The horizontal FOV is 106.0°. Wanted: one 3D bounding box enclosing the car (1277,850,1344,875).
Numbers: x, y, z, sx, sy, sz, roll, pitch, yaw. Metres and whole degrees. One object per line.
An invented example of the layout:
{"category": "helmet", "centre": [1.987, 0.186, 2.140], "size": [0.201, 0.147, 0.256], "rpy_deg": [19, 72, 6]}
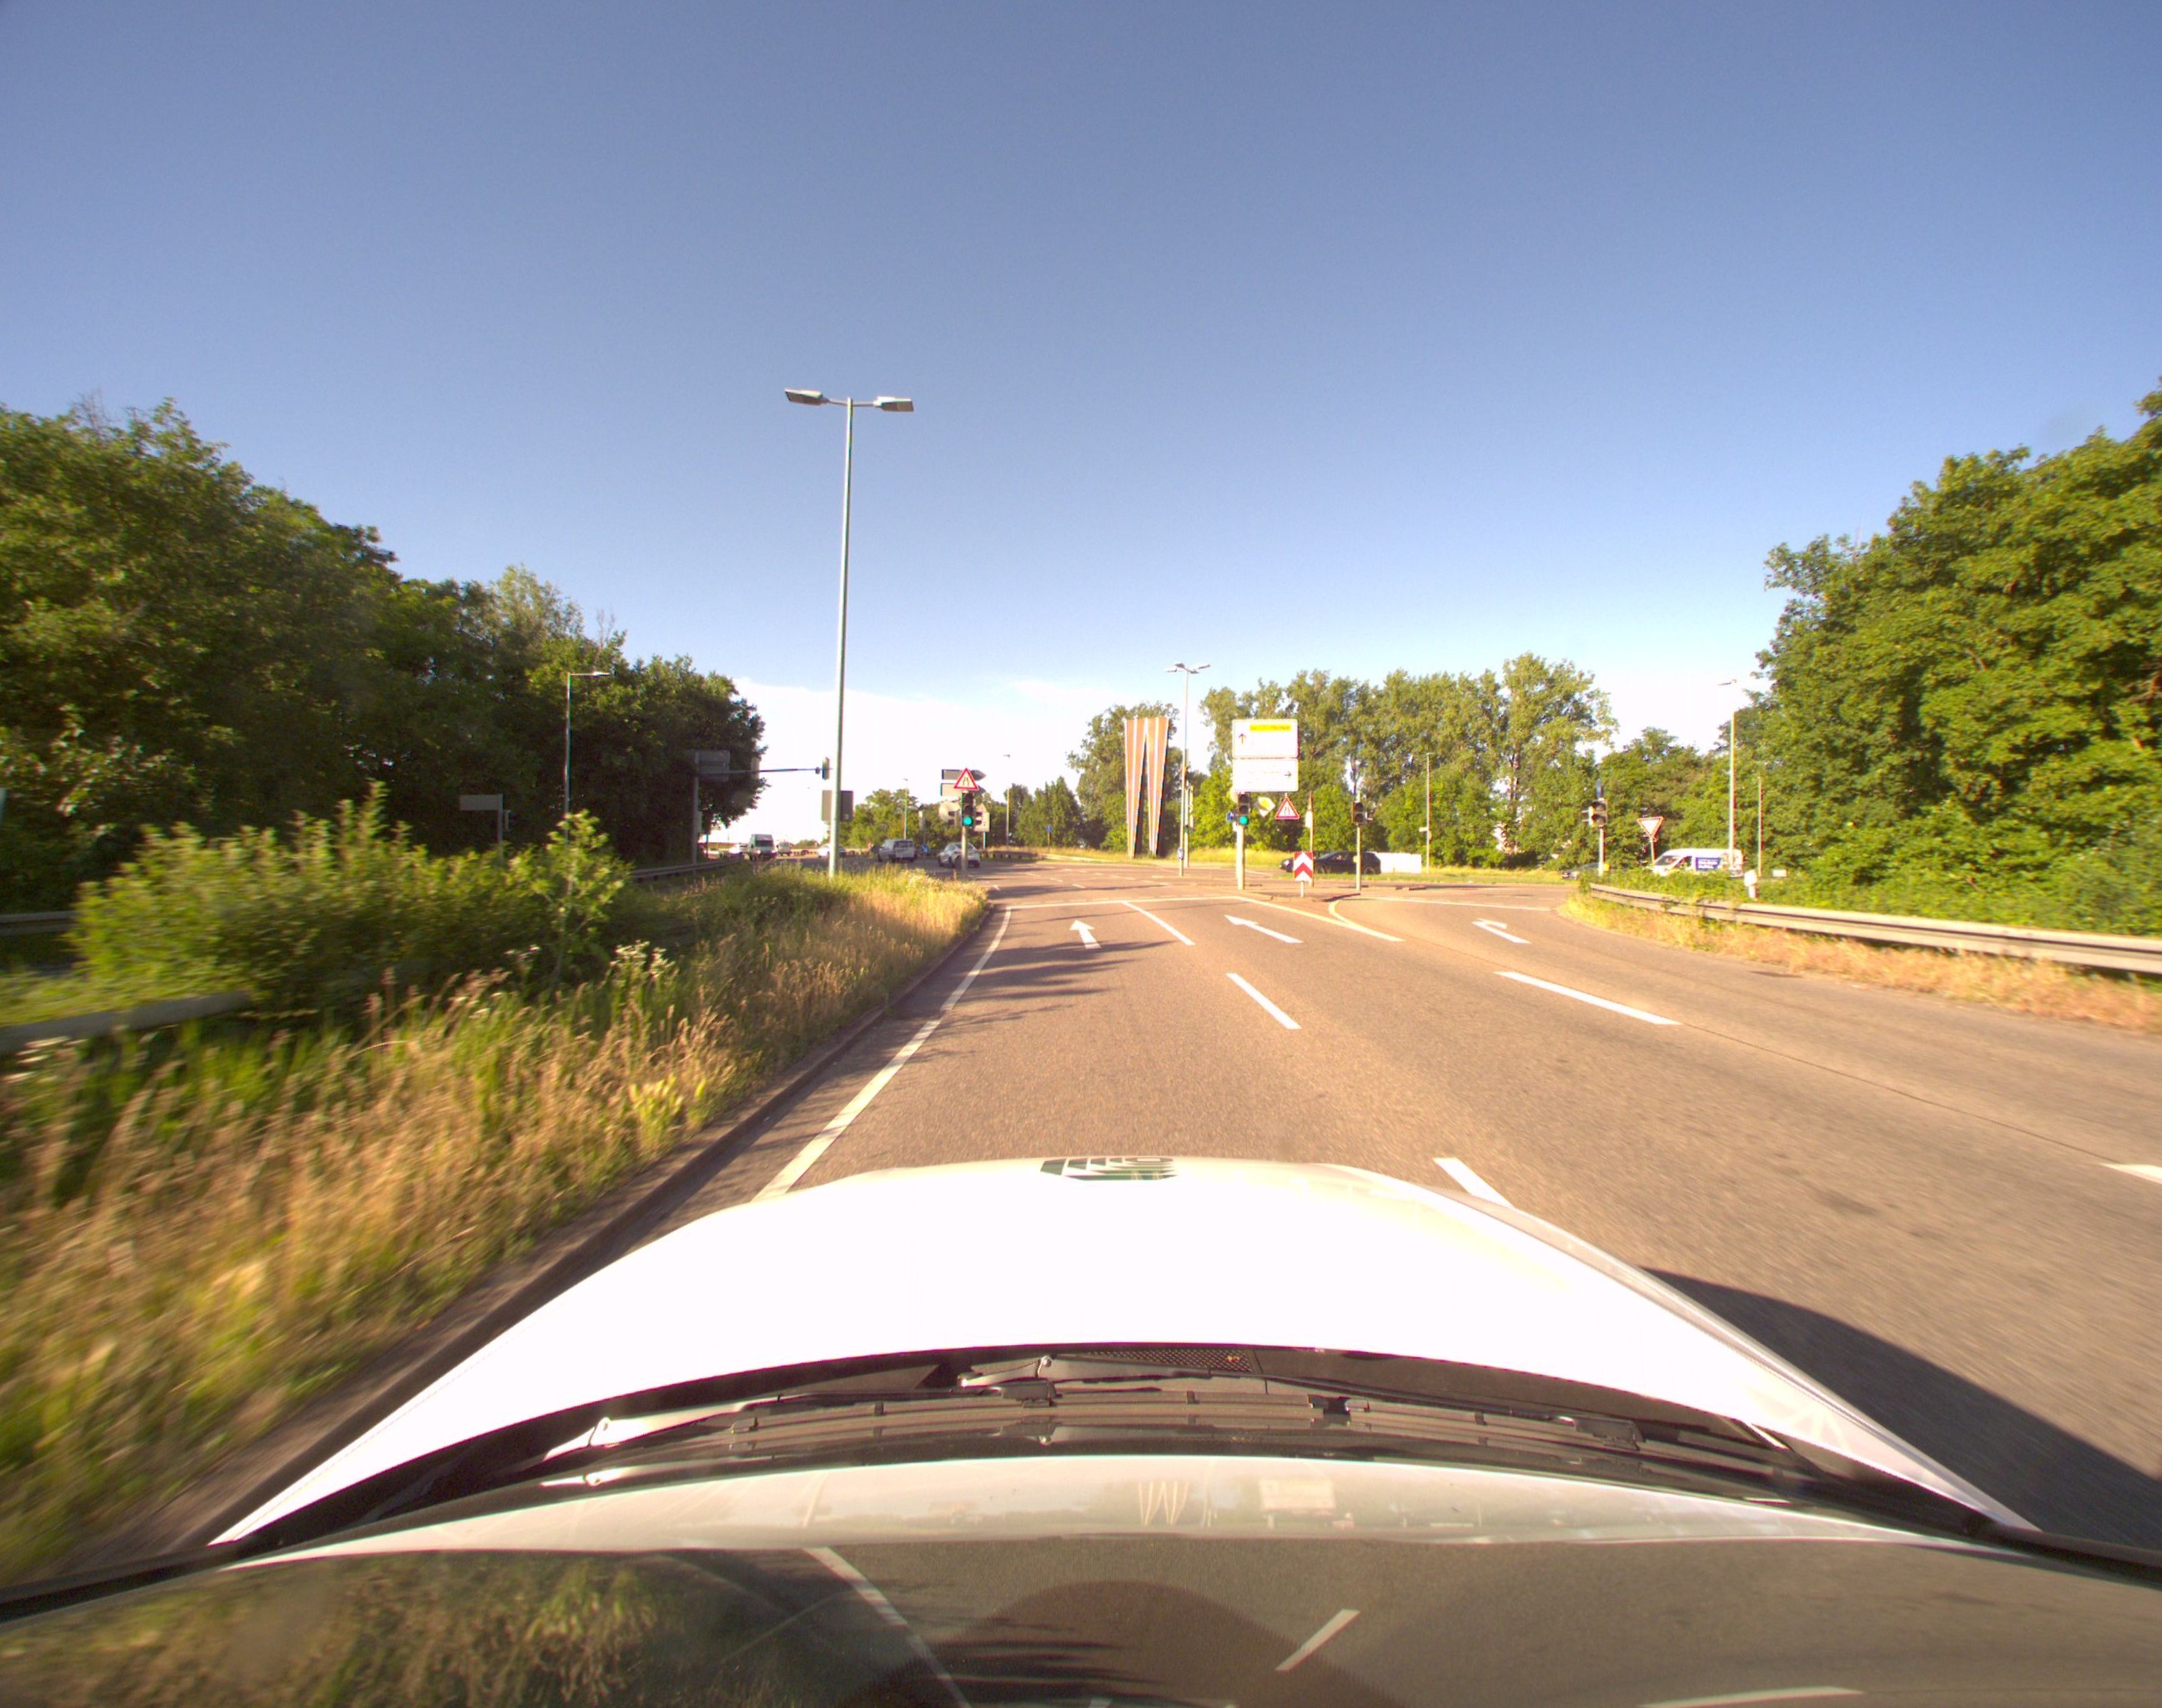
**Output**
{"category": "car", "centre": [14.568, 0.542, 51.720], "size": [3.735, 1.403, 1.693], "rpy_deg": [2, 2, -1]}

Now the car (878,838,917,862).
{"category": "car", "centre": [-14.897, -0.330, 65.899], "size": [2.005, 1.879, 4.210], "rpy_deg": [0, 0, -29]}

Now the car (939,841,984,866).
{"category": "car", "centre": [-8.019, -0.034, 54.339], "size": [2.002, 1.640, 4.096], "rpy_deg": [0, 0, -24]}

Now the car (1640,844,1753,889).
{"category": "car", "centre": [36.878, 0.716, 48.897], "size": [5.256, 2.409, 2.107], "rpy_deg": [2, 0, -3]}

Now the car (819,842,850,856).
{"category": "car", "centre": [-26.062, -0.520, 86.003], "size": [1.984, 1.474, 4.110], "rpy_deg": [0, 1, -36]}

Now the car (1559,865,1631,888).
{"category": "car", "centre": [33.609, 1.455, 53.347], "size": [3.676, 1.387, 1.611], "rpy_deg": [1, 0, 3]}

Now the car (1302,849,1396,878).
{"category": "car", "centre": [14.581, 0.494, 44.454], "size": [4.448, 1.464, 1.998], "rpy_deg": [1, 1, -3]}

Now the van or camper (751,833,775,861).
{"category": "van or camper", "centre": [-31.702, -0.742, 81.122], "size": [2.058, 2.673, 6.881], "rpy_deg": [-1, 1, -23]}

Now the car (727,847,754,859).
{"category": "car", "centre": [-47.874, -0.143, 114.375], "size": [2.286, 1.508, 3.952], "rpy_deg": [1, -1, -42]}

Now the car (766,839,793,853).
{"category": "car", "centre": [-37.241, -0.956, 100.533], "size": [1.985, 1.698, 3.955], "rpy_deg": [0, 1, -38]}
